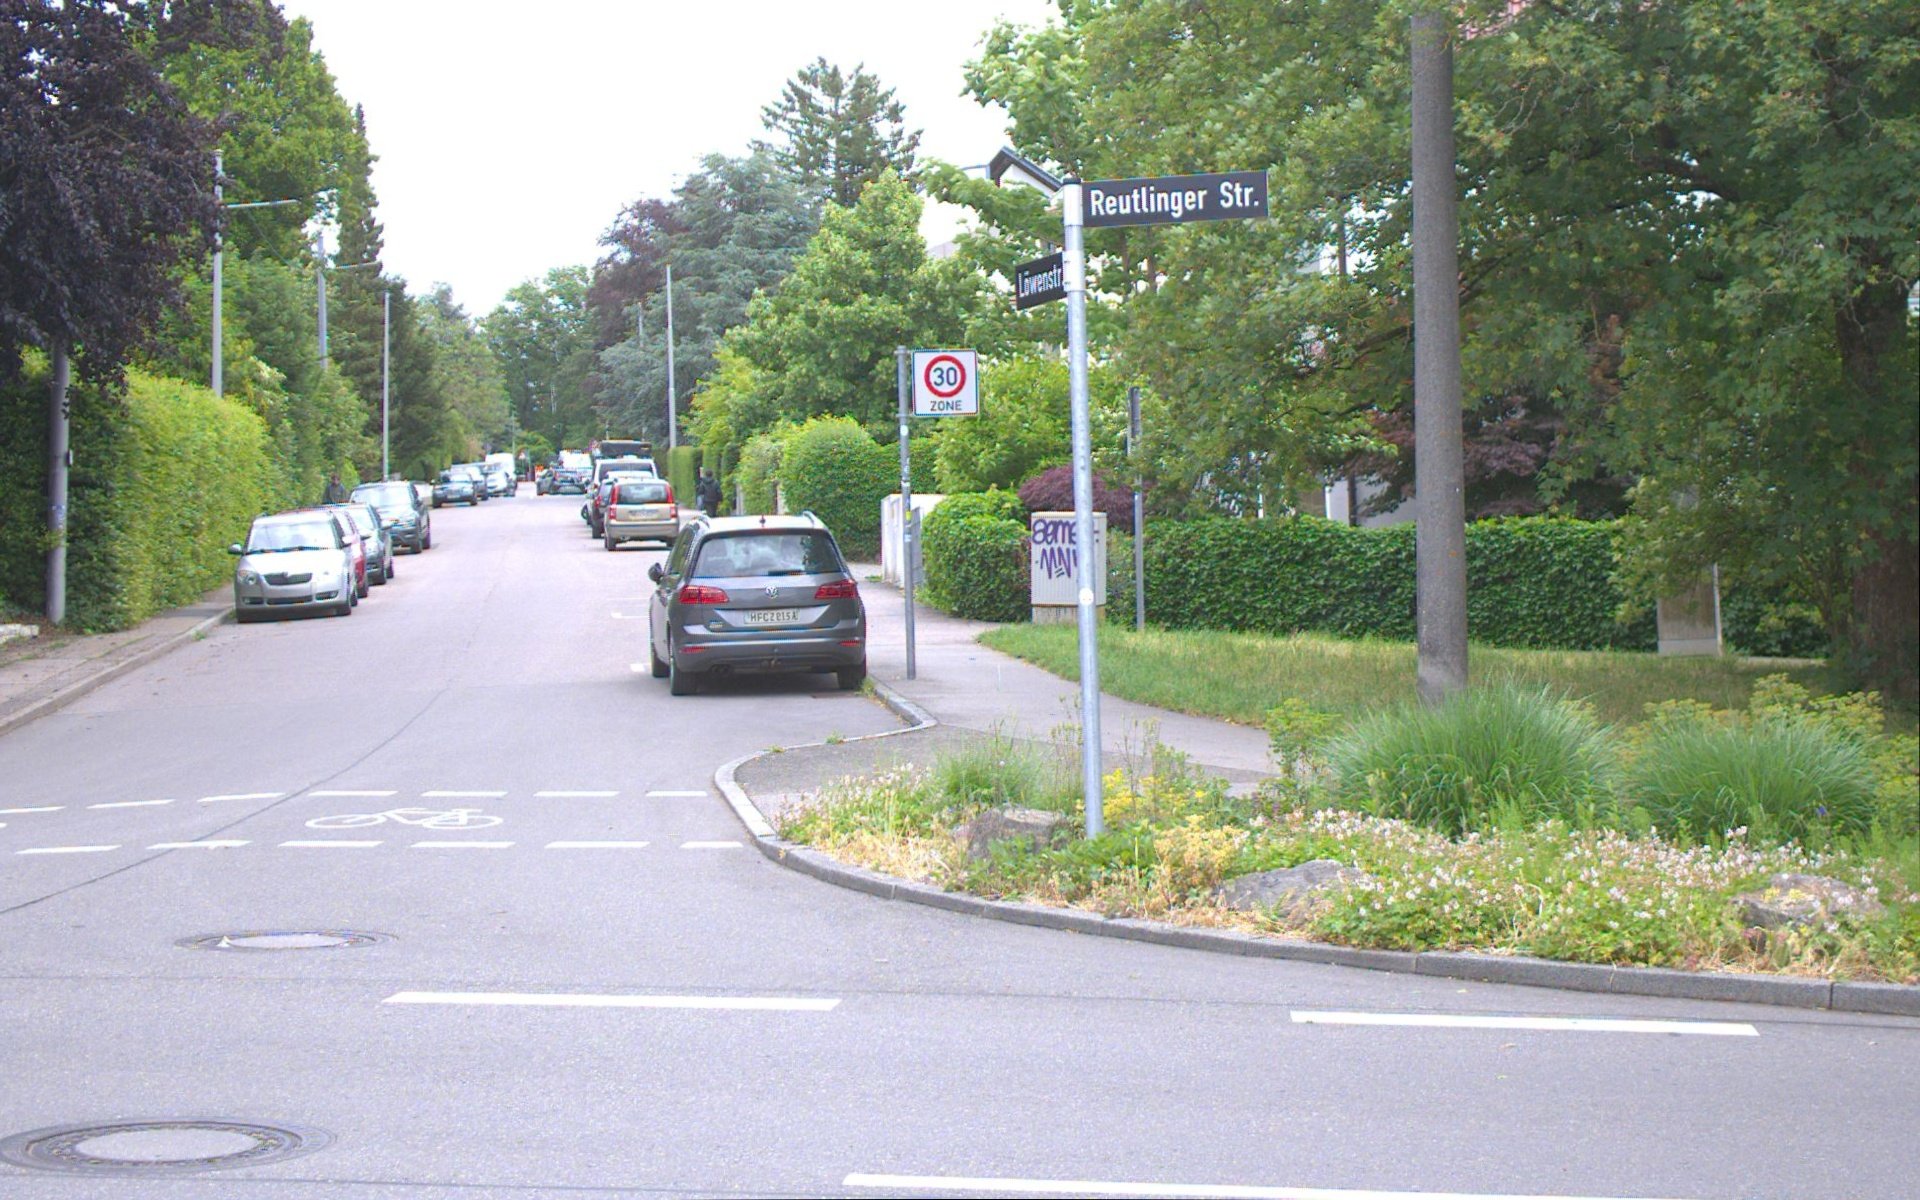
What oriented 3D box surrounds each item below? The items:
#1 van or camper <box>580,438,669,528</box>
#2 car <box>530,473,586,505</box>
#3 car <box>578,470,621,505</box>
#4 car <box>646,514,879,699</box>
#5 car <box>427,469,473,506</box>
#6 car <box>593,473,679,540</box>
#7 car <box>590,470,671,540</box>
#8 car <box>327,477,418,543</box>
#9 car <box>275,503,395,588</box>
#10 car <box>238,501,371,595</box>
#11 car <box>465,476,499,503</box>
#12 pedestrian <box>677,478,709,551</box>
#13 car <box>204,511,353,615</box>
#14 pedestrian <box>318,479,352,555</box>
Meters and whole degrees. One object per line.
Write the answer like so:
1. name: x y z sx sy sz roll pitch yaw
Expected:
1. van or camper: -9.424 -3.251 96.331 2.112 2.396 5.247 -1 1 -9
2. car: -20.597 -5.683 176.038 1.815 1.568 4.001 -2 1 -22
3. car: -19.118 -5.968 182.168 1.939 1.790 4.196 1 1 -11
4. car: -1.877 0.006 31.619 1.817 1.531 4.001 -2 2 -7
5. car: -20.559 -4.533 138.683 1.714 1.458 3.657 1 1 -7
6. car: -7.064 -2.039 74.782 1.608 1.409 3.474 1 1 -9
7. car: -8.128 -2.322 84.518 1.746 1.634 3.729 -1 1 -8
8. car: -13.467 -2.071 78.981 1.946 1.437 4.001 -1 2 -9
9. car: -11.098 -0.991 61.228 1.946 1.437 4.001 -1 2 -9
10. car: -10.595 -0.867 55.802 1.946 1.437 4.001 -1 2 -9
11. car: -24.115 -5.579 173.471 1.655 1.330 3.782 1 1 -7
12. pedestrian: -6.867 -2.196 88.388 0.757 1.865 0.620 1 1 -7
13. car: -9.998 -0.581 50.690 1.946 1.437 4.001 -1 2 -9
14. pedestrian: -16.553 -2.197 91.036 0.853 2.007 0.873 1 1 -12
